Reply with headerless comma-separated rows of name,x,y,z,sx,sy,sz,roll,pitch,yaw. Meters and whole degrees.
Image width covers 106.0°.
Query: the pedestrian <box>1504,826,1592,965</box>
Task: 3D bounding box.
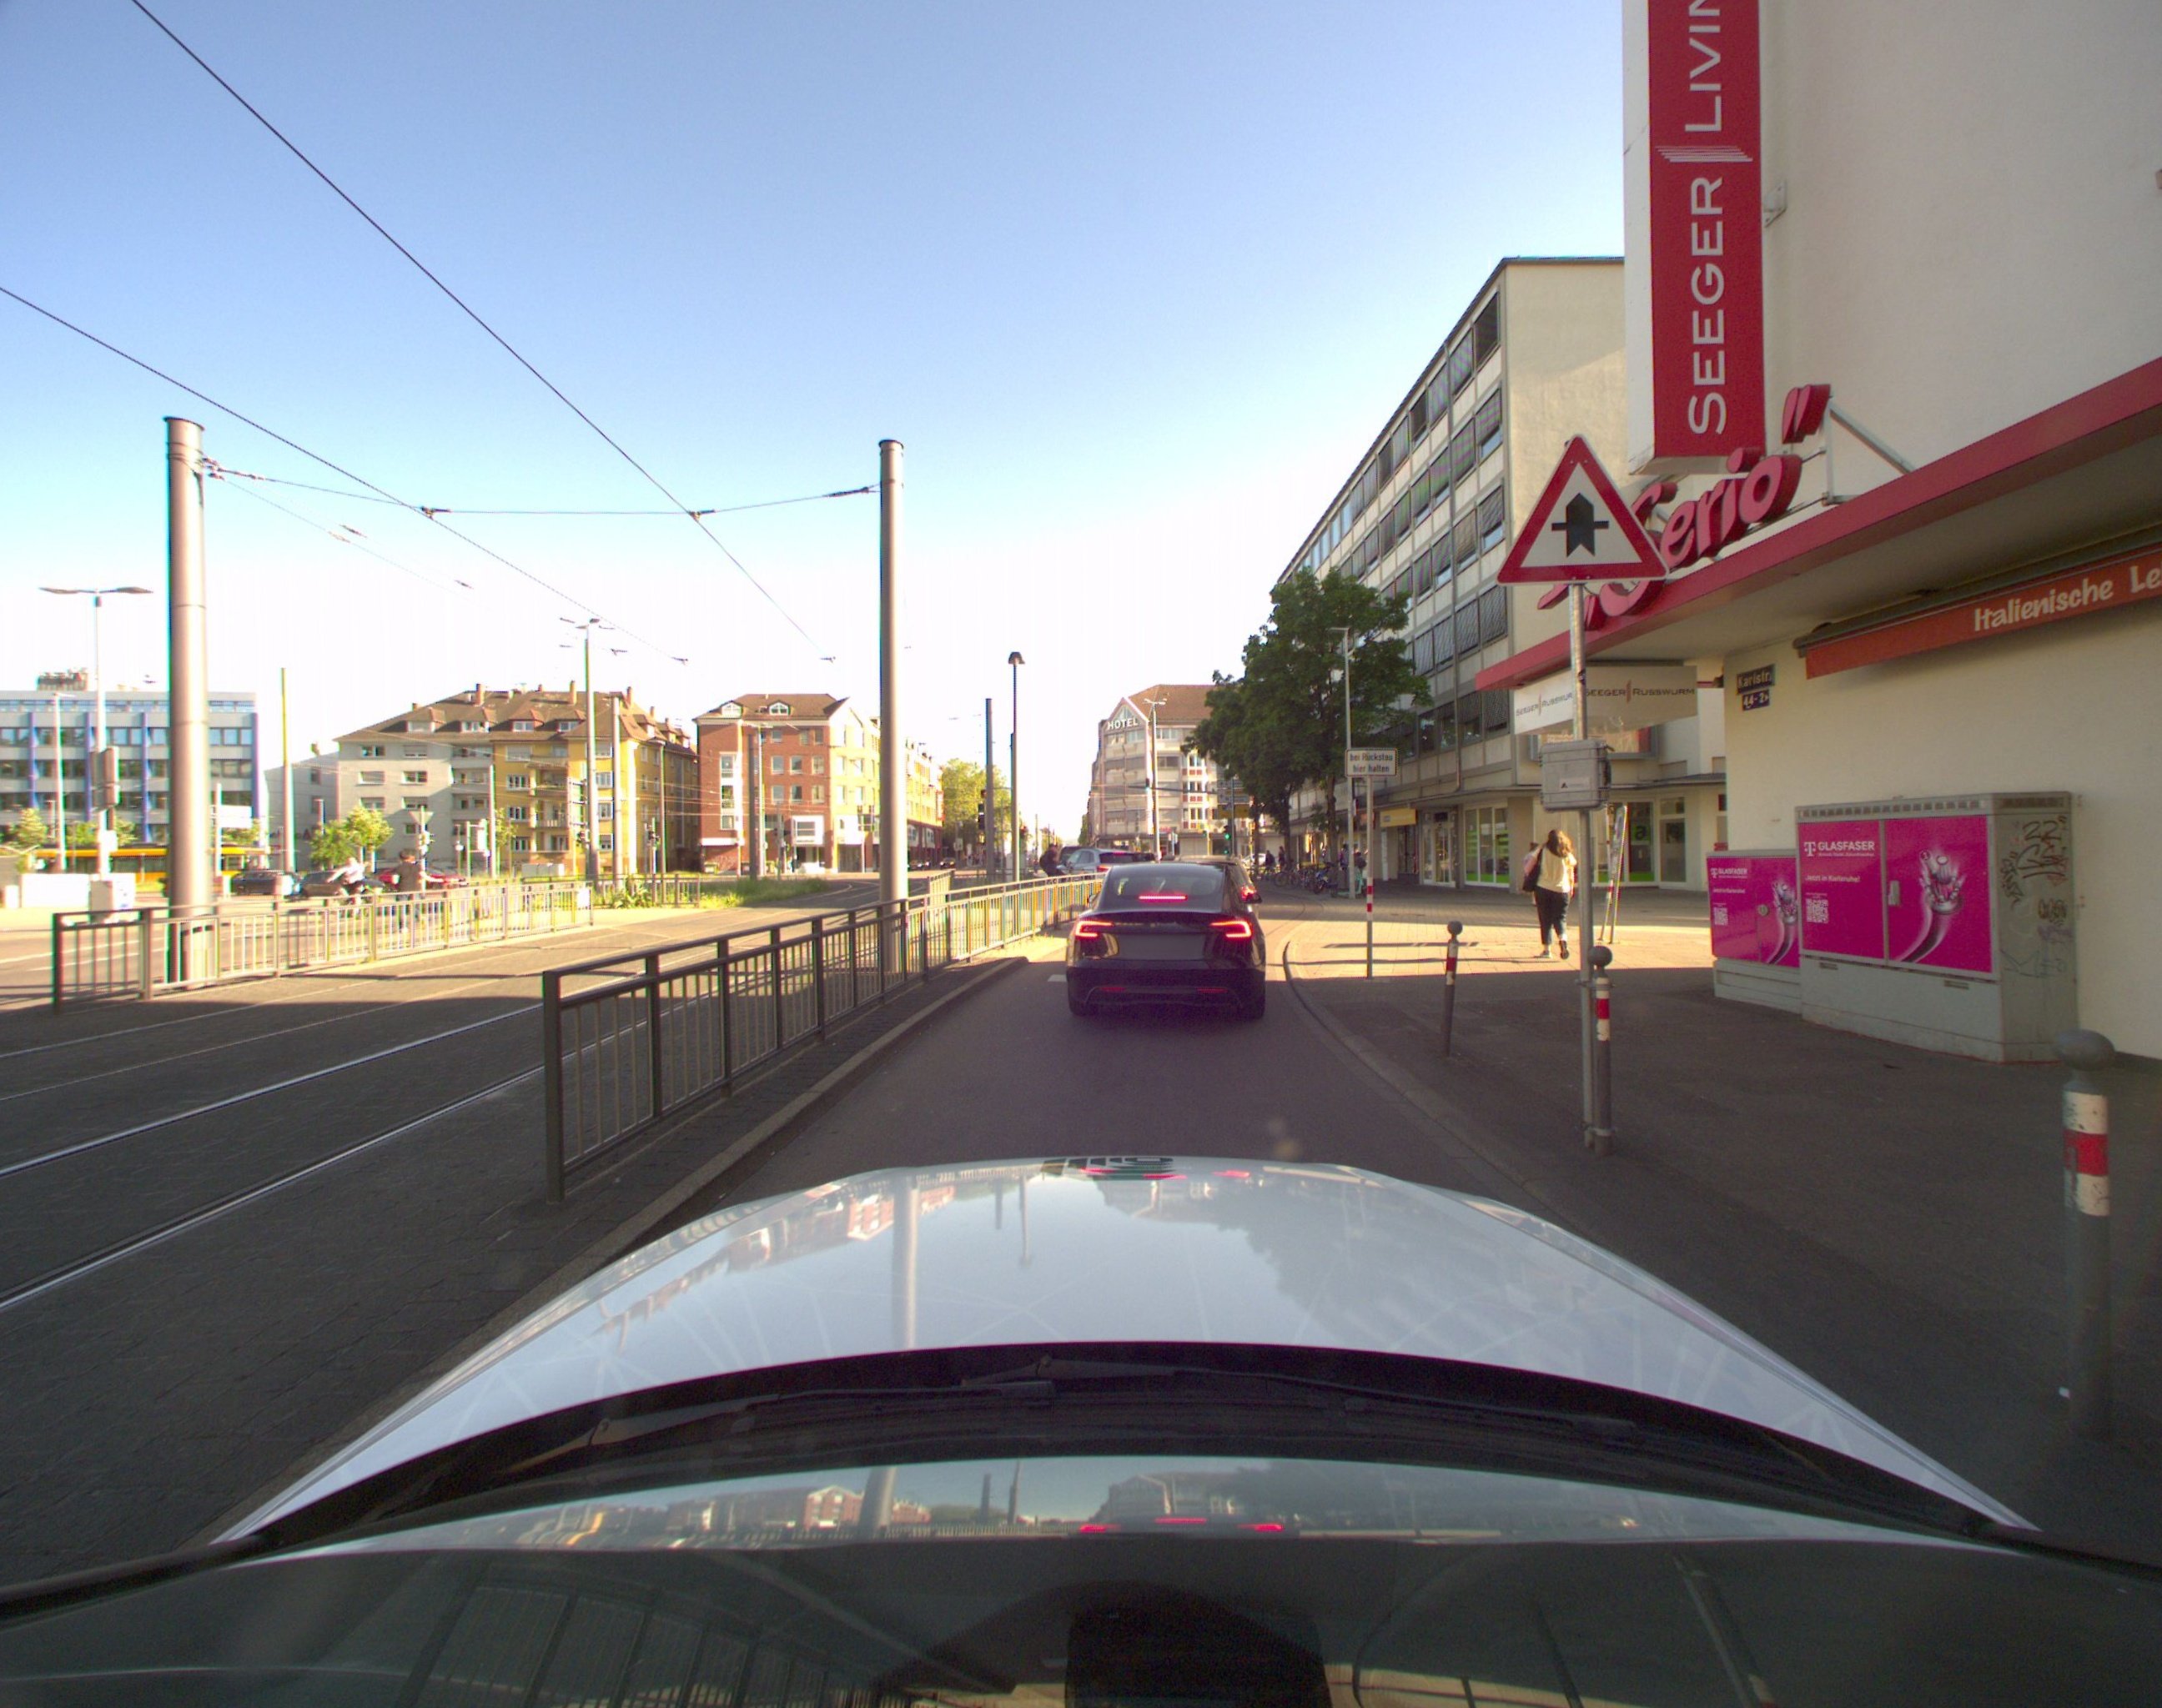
pedestrian,6.220,0.521,10.908,0.906,1.752,1.044,-1,0,25

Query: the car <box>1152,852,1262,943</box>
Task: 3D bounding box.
car,2.314,0.696,15.084,1.741,1.454,4.009,-1,0,8

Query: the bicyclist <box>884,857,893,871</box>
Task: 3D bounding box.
bicyclist,-22.370,1.152,94.549,0.781,1.563,0.746,0,-1,1

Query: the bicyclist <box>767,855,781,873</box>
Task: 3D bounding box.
bicyclist,-25.883,0.847,68.560,0.895,1.503,0.696,0,-1,1

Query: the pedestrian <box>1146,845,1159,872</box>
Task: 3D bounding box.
pedestrian,5.565,0.347,63.102,0.917,2.014,0.973,0,-1,1

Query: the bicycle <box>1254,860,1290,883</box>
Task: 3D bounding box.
bicycle,9.205,0.839,39.248,1.643,1.099,0.350,0,-1,3

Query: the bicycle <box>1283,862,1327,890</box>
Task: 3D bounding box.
bicycle,8.731,0.857,31.798,1.649,1.099,0.349,0,-1,-9

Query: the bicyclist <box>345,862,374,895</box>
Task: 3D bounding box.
bicyclist,-40.552,1.379,45.772,0.900,1.808,0.788,0,-1,-10

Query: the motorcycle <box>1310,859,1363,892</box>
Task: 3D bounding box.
motorcycle,9.145,0.766,29.179,1.701,1.173,0.541,0,-1,0

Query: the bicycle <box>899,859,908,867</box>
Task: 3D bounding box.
bicycle,-22.293,1.126,102.407,0.527,1.088,2.286,0,-1,4

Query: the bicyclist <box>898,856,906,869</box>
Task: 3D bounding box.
bicyclist,-22.430,1.027,101.845,0.780,1.563,0.747,-1,0,3

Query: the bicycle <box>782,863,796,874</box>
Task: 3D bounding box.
bicycle,-26.868,1.359,74.943,0.402,0.981,1.699,-1,-1,10

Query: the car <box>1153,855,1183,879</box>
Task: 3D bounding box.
car,5.897,0.870,55.549,1.814,1.615,3.828,0,-1,2

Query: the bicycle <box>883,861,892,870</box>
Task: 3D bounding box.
bicycle,-22.405,1.344,94.377,0.535,1.088,2.225,0,-1,1

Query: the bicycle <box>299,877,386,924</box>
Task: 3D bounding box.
bicycle,-20.369,1.259,22.502,0.481,1.222,1.860,-1,-1,11

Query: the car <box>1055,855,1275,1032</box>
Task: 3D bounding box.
car,0.929,0.755,8.790,1.820,1.455,4.007,0,-1,7

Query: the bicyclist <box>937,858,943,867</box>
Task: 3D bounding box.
bicyclist,-23.356,1.385,135.160,0.780,1.563,0.747,0,-1,3

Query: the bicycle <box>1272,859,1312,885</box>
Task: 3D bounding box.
bicycle,9.118,0.763,35.269,1.643,1.099,0.350,0,-1,3

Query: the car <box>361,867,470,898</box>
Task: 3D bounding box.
car,-39.457,1.656,48.380,4.585,1.700,1.993,0,-1,-10

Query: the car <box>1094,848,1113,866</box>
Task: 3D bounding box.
car,2.206,0.308,79.444,1.713,1.751,3.755,0,-1,2

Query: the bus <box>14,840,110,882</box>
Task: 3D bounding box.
bus,-77.036,0.534,61.651,3.514,3.131,2.763,0,-1,-9

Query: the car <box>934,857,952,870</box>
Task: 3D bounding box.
car,-18.062,1.244,106.756,1.692,1.731,3.706,0,-1,0

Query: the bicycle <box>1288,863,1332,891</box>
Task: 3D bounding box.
bicycle,8.817,0.875,31.372,1.649,1.061,0.349,0,-1,-9

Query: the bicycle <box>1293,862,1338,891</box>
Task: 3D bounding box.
bicycle,8.895,0.857,30.948,1.649,1.099,0.349,0,-1,-9

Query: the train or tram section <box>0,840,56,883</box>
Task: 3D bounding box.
train or tram section,-85.534,0.588,60.364,13.663,3.131,2.726,0,-1,-8

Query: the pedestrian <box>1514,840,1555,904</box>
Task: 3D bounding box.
pedestrian,12.037,0.479,21.637,0.881,1.667,0.813,-1,-1,25

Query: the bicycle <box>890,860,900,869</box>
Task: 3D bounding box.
bicycle,-22.487,1.312,98.342,0.527,1.088,2.286,2,-1,4

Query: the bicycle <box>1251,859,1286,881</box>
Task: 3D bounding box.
bicycle,9.281,0.796,40.261,1.643,1.099,0.350,0,-1,3

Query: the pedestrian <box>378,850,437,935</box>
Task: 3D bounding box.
pedestrian,-13.825,0.774,16.735,0.585,1.681,0.779,-1,-1,31

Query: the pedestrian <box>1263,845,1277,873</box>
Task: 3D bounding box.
pedestrian,11.493,0.295,49.580,0.697,1.662,0.777,0,-1,1

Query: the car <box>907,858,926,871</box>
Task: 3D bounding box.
car,-20.265,1.258,100.365,1.706,1.527,4.032,0,-1,-3

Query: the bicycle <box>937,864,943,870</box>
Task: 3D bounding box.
bicycle,-23.362,2.132,135.023,0.527,1.088,2.227,0,-1,4

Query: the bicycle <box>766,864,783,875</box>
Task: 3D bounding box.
bicycle,-25.836,1.296,68.581,0.522,0.972,2.247,0,-1,2

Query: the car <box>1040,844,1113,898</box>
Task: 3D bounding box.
car,-0.272,0.664,32.757,1.997,2.014,3.980,-1,0,-15

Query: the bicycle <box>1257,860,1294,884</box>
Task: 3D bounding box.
bicycle,9.140,0.834,38.222,1.643,1.099,0.350,0,-1,3

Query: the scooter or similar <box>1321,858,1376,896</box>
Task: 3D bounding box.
scooter or similar,8.899,0.762,27.109,1.625,1.215,0.649,-1,-1,32

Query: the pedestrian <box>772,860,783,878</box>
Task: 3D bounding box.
pedestrian,-29.568,1.466,79.391,0.780,1.820,0.747,0,-1,3

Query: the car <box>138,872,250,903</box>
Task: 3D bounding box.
car,-50.623,1.882,46.567,3.952,1.685,1.903,0,-1,-11

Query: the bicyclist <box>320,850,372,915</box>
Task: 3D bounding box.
bicyclist,-20.351,0.778,22.549,0.751,1.759,0.755,-1,-1,11

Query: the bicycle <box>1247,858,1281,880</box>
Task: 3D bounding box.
bicycle,9.263,0.758,41.308,1.643,1.099,0.350,-1,0,3

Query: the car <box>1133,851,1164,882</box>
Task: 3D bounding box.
car,4.010,0.744,48.877,1.592,1.778,3.982,0,-1,2

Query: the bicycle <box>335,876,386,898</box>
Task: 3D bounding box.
bicycle,-40.486,1.858,45.776,2.188,1.214,0.544,0,-1,-11

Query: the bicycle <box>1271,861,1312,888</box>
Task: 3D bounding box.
bicycle,8.617,0.845,33.330,1.649,1.099,0.349,0,-1,-9

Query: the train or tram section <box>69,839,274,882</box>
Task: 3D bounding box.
train or tram section,-69.668,0.486,62.664,11.226,3.131,2.797,0,-1,-9

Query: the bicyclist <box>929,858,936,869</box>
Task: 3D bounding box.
bicyclist,-20.140,1.311,110.758,0.782,1.527,0.590,0,-1,5

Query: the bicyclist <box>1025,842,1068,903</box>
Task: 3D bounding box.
bicyclist,-0.954,0.491,22.364,0.763,1.628,0.967,0,-1,-37

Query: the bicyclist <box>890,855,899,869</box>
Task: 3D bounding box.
bicyclist,-22.512,0.971,98.353,0.780,1.563,0.747,-1,0,3

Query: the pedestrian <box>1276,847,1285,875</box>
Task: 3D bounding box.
pedestrian,12.206,0.417,49.791,0.522,1.710,0.405,-1,-1,12

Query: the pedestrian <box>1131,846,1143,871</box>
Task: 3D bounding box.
pedestrian,4.591,0.354,67.003,0.917,2.014,0.973,0,-1,1

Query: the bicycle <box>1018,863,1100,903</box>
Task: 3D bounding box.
bicycle,-0.596,0.773,22.613,2.346,1.053,0.624,0,-1,-36

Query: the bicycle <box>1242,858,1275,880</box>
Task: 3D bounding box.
bicycle,9.244,0.789,42.403,1.643,1.099,0.350,0,-1,3

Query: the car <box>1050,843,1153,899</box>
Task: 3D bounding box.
car,0.578,0.524,26.676,1.891,1.662,4.126,0,-1,-23

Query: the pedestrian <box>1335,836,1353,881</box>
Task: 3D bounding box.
pedestrian,11.859,0.209,36.741,0.659,2.014,0.580,0,-1,4

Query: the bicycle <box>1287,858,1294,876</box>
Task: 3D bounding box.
bicycle,12.678,0.785,49.368,0.330,1.034,1.260,-1,-1,12

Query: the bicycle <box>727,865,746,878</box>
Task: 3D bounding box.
bicycle,-26.095,1.331,61.759,0.445,0.972,2.247,0,-1,2

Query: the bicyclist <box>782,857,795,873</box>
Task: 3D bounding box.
bicyclist,-26.909,1.028,74.904,0.699,1.471,0.975,-1,0,9

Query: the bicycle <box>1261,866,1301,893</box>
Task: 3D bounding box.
bicycle,8.410,1.083,34.250,1.649,1.099,0.349,0,-1,-9

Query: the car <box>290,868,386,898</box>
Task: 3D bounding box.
car,-38.996,1.510,42.773,3.829,1.526,1.650,-1,-1,10

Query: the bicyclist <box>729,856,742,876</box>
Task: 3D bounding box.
bicyclist,-26.108,0.918,61.518,0.631,1.503,0.696,0,-1,1

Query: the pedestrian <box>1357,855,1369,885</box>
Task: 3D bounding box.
pedestrian,12.665,0.729,36.584,0.388,1.343,0.513,0,-1,4
